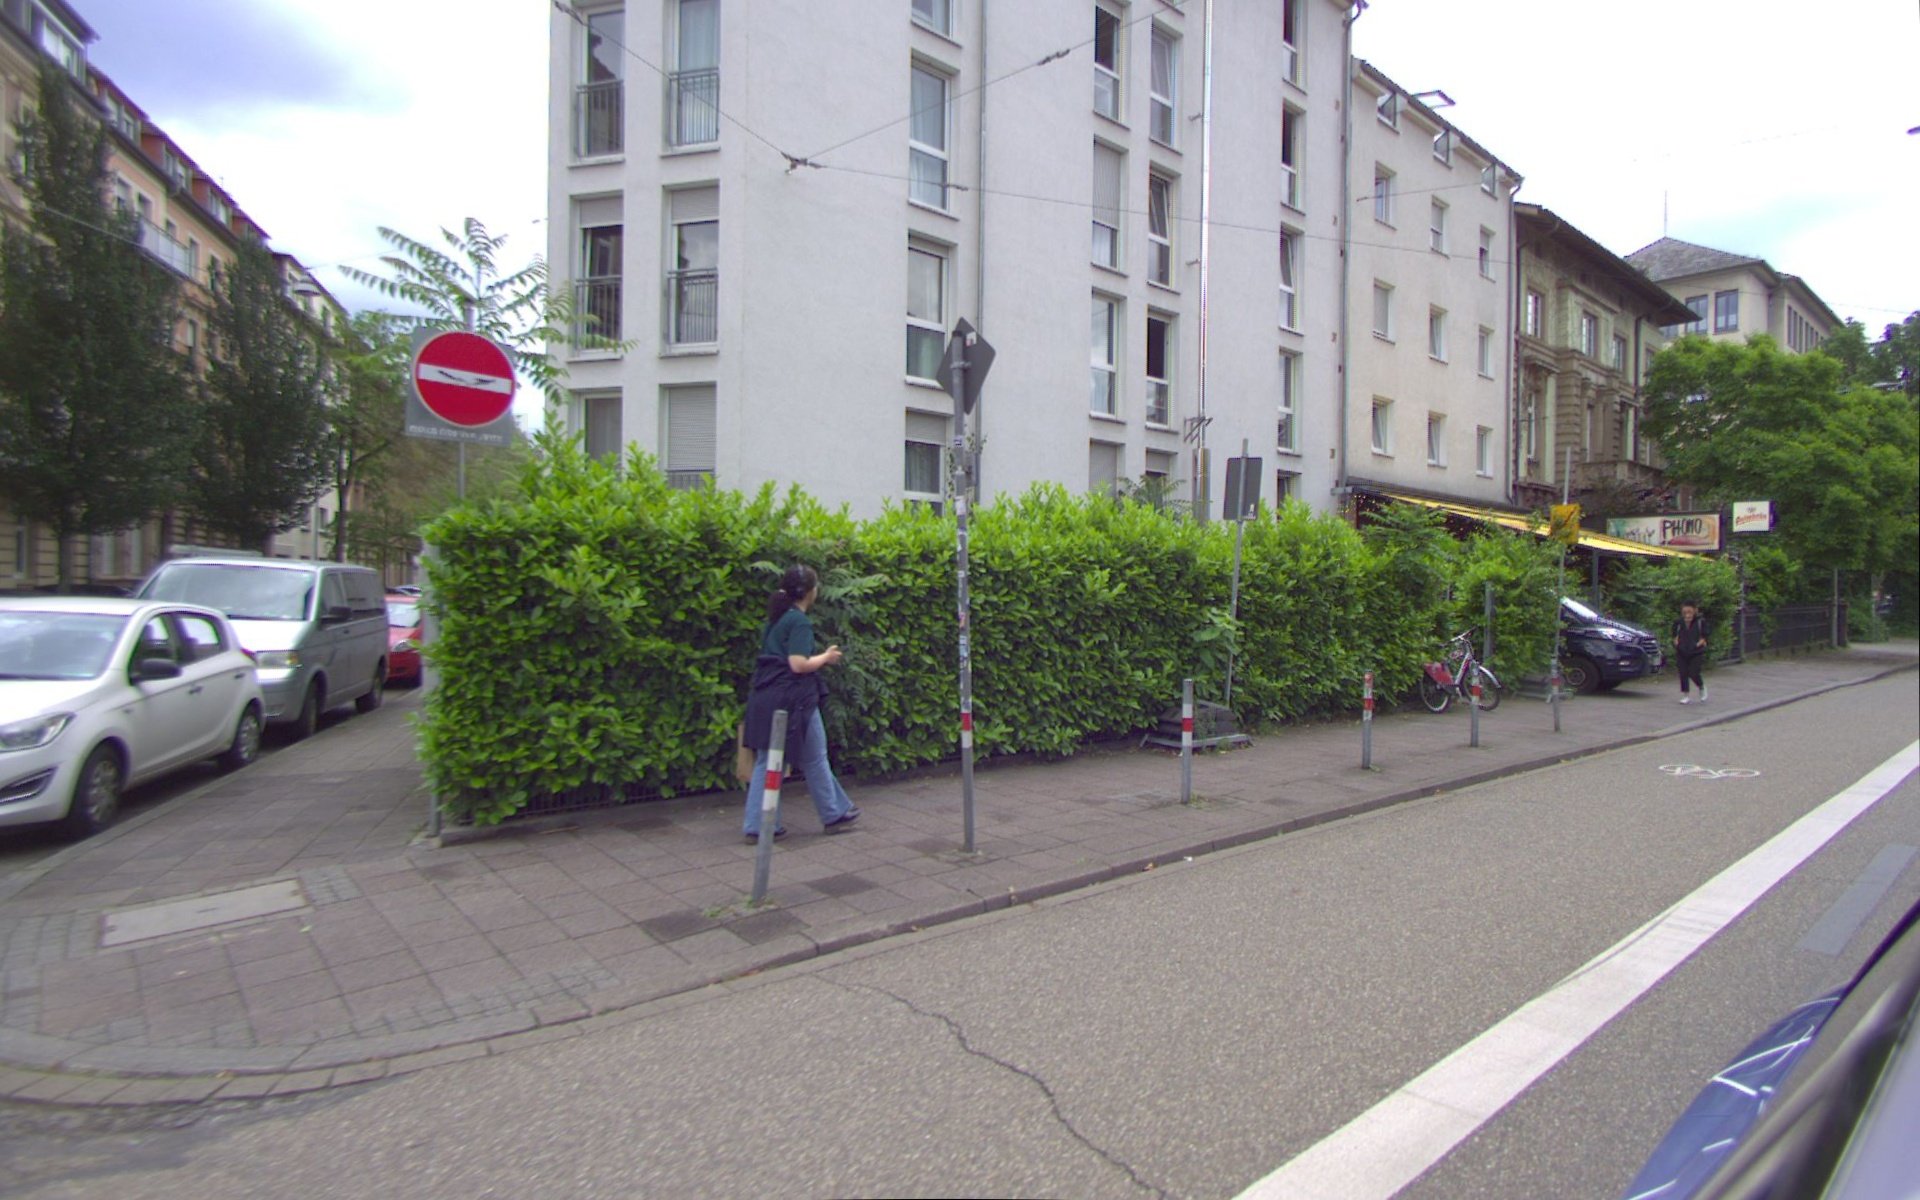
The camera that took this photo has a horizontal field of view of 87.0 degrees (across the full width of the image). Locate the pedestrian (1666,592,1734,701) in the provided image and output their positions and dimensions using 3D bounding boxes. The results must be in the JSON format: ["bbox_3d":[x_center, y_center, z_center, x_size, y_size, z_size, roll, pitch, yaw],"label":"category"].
[{"bbox_3d":[11.995,0.730,16.410,0.943,1.691,0.624,1,2,-41],"label":"pedestrian"}]

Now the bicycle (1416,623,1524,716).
[{"bbox_3d":[6.884,0.900,13.629,1.780,1.142,0.634,1,1,-41],"label":"bicycle"}]

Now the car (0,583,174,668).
[{"bbox_3d":[-18.954,0.484,20.371,4.505,1.631,2.004,0,0,-17],"label":"car"}]

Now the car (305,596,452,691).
[{"bbox_3d":[-10.184,0.690,17.990,1.534,1.471,3.831,1,0,-19],"label":"car"}]

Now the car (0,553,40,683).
[{"bbox_3d":[-17.637,0.309,15.620,4.689,2.070,1.899,-1,1,-19],"label":"car"}]

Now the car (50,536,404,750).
[{"bbox_3d":[-8.114,0.394,11.817,1.934,1.963,4.755,2,0,-18],"label":"car"}]

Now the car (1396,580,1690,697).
[{"bbox_3d":[10.495,0.594,18.508,1.790,1.832,4.292,1,1,-38],"label":"car"}]

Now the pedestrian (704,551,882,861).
[{"bbox_3d":[-1.006,0.560,5.970,0.819,1.656,0.797,0,3,-25],"label":"pedestrian"}]

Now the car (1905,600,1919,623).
[{"bbox_3d":[67.253,0.802,68.595,4.285,1.571,1.733,1,0,28],"label":"car"}]

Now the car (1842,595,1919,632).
[{"bbox_3d":[48.918,0.707,52.868,3.790,1.844,1.796,1,0,19],"label":"car"}]

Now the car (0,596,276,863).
[{"bbox_3d":[-6.547,0.719,7.288,1.636,1.449,3.829,1,0,-18],"label":"car"}]

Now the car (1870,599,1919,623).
[{"bbox_3d":[60.860,0.706,64.192,4.272,1.420,1.745,1,0,17],"label":"car"}]
